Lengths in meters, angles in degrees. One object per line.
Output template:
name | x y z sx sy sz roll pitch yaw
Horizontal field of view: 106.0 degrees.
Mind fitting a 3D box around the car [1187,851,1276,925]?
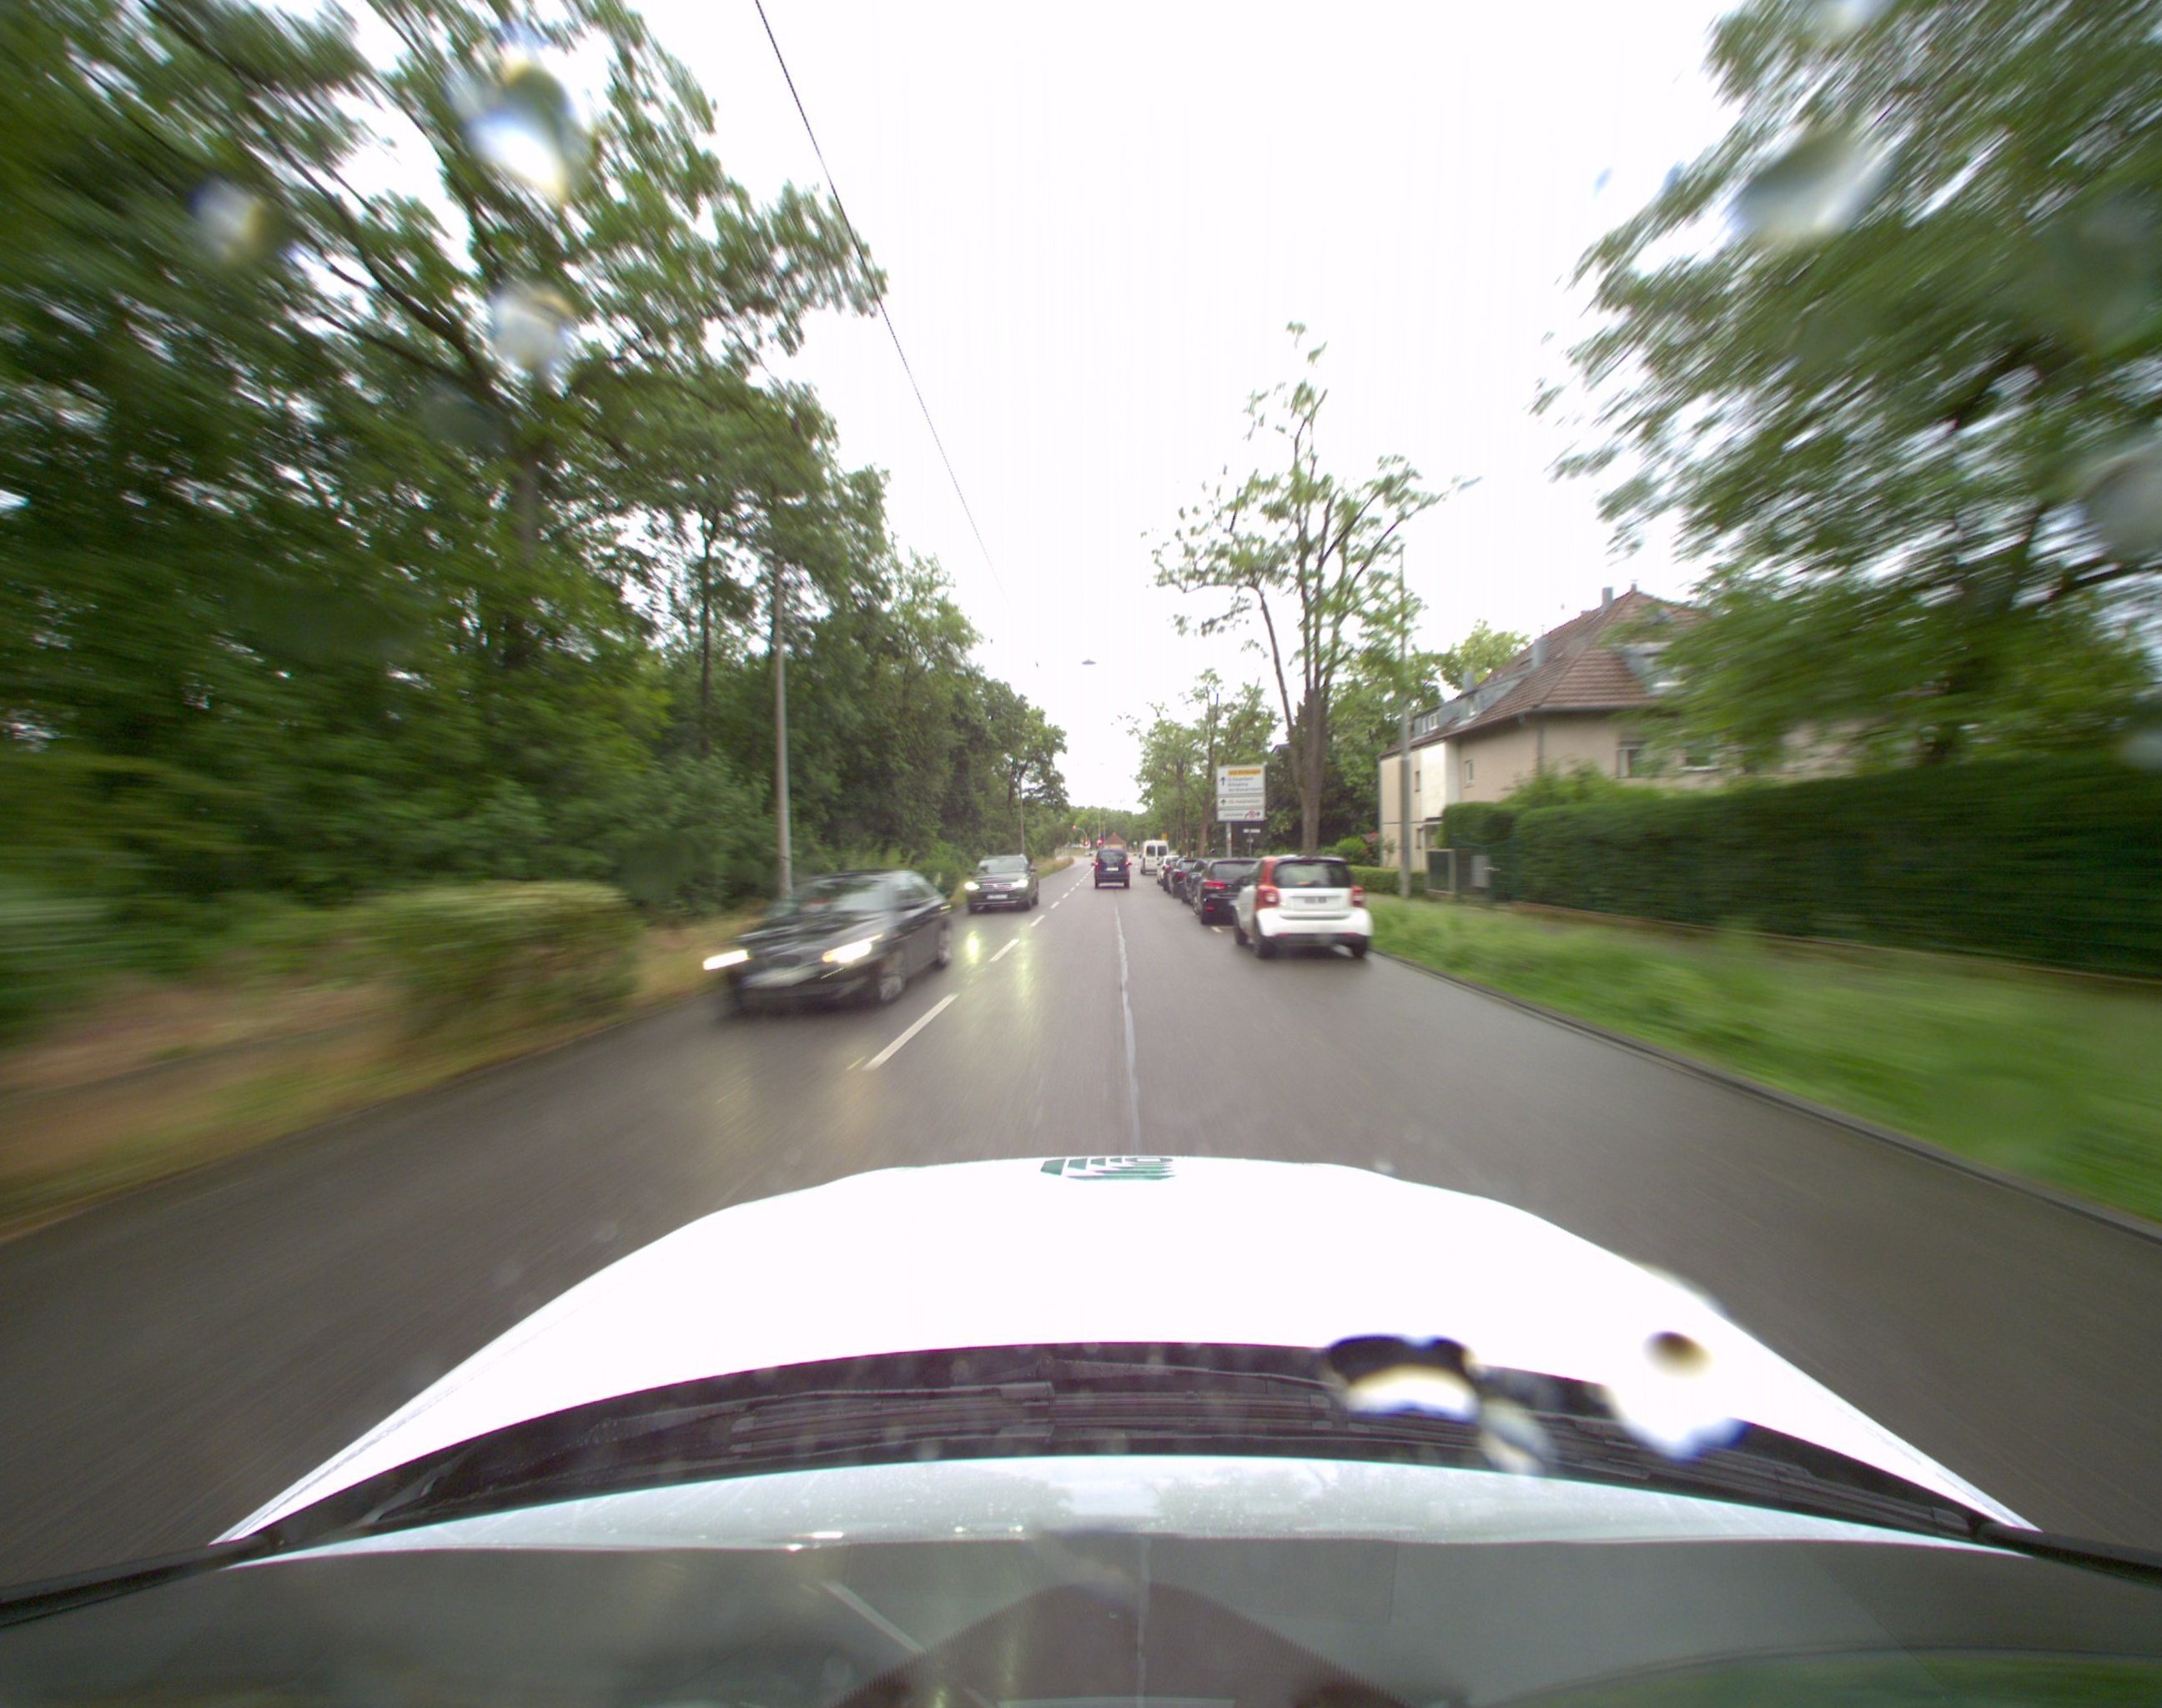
car | 3.467 0.725 19.298 1.690 1.524 3.873 0 1 5

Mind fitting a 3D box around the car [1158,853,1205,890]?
car | 4.328 0.731 35.640 1.692 1.524 3.869 0 0 1

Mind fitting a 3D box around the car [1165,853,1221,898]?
car | 4.100 0.755 30.324 1.691 1.524 4.214 0 0 3

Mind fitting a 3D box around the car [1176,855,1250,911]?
car | 3.886 0.797 24.551 1.692 1.524 3.869 0 0 1

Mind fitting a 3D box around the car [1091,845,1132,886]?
car | 1.410 0.516 38.368 1.761 1.830 3.541 0 1 -1

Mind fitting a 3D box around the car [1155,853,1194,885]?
car | 4.732 0.712 41.606 1.692 1.524 3.869 0 0 1

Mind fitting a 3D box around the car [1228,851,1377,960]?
car | 3.413 0.723 13.033 1.627 1.510 2.958 0 1 1

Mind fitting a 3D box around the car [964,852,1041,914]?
car | -2.296 0.808 24.826 1.716 1.615 4.158 -2 1 2

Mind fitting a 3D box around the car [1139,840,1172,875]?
car | 5.473 0.287 60.579 2.196 2.449 4.732 -1 0 2

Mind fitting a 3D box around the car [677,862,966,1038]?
car | -2.776 0.917 10.133 1.722 1.442 5.115 -3 1 2
